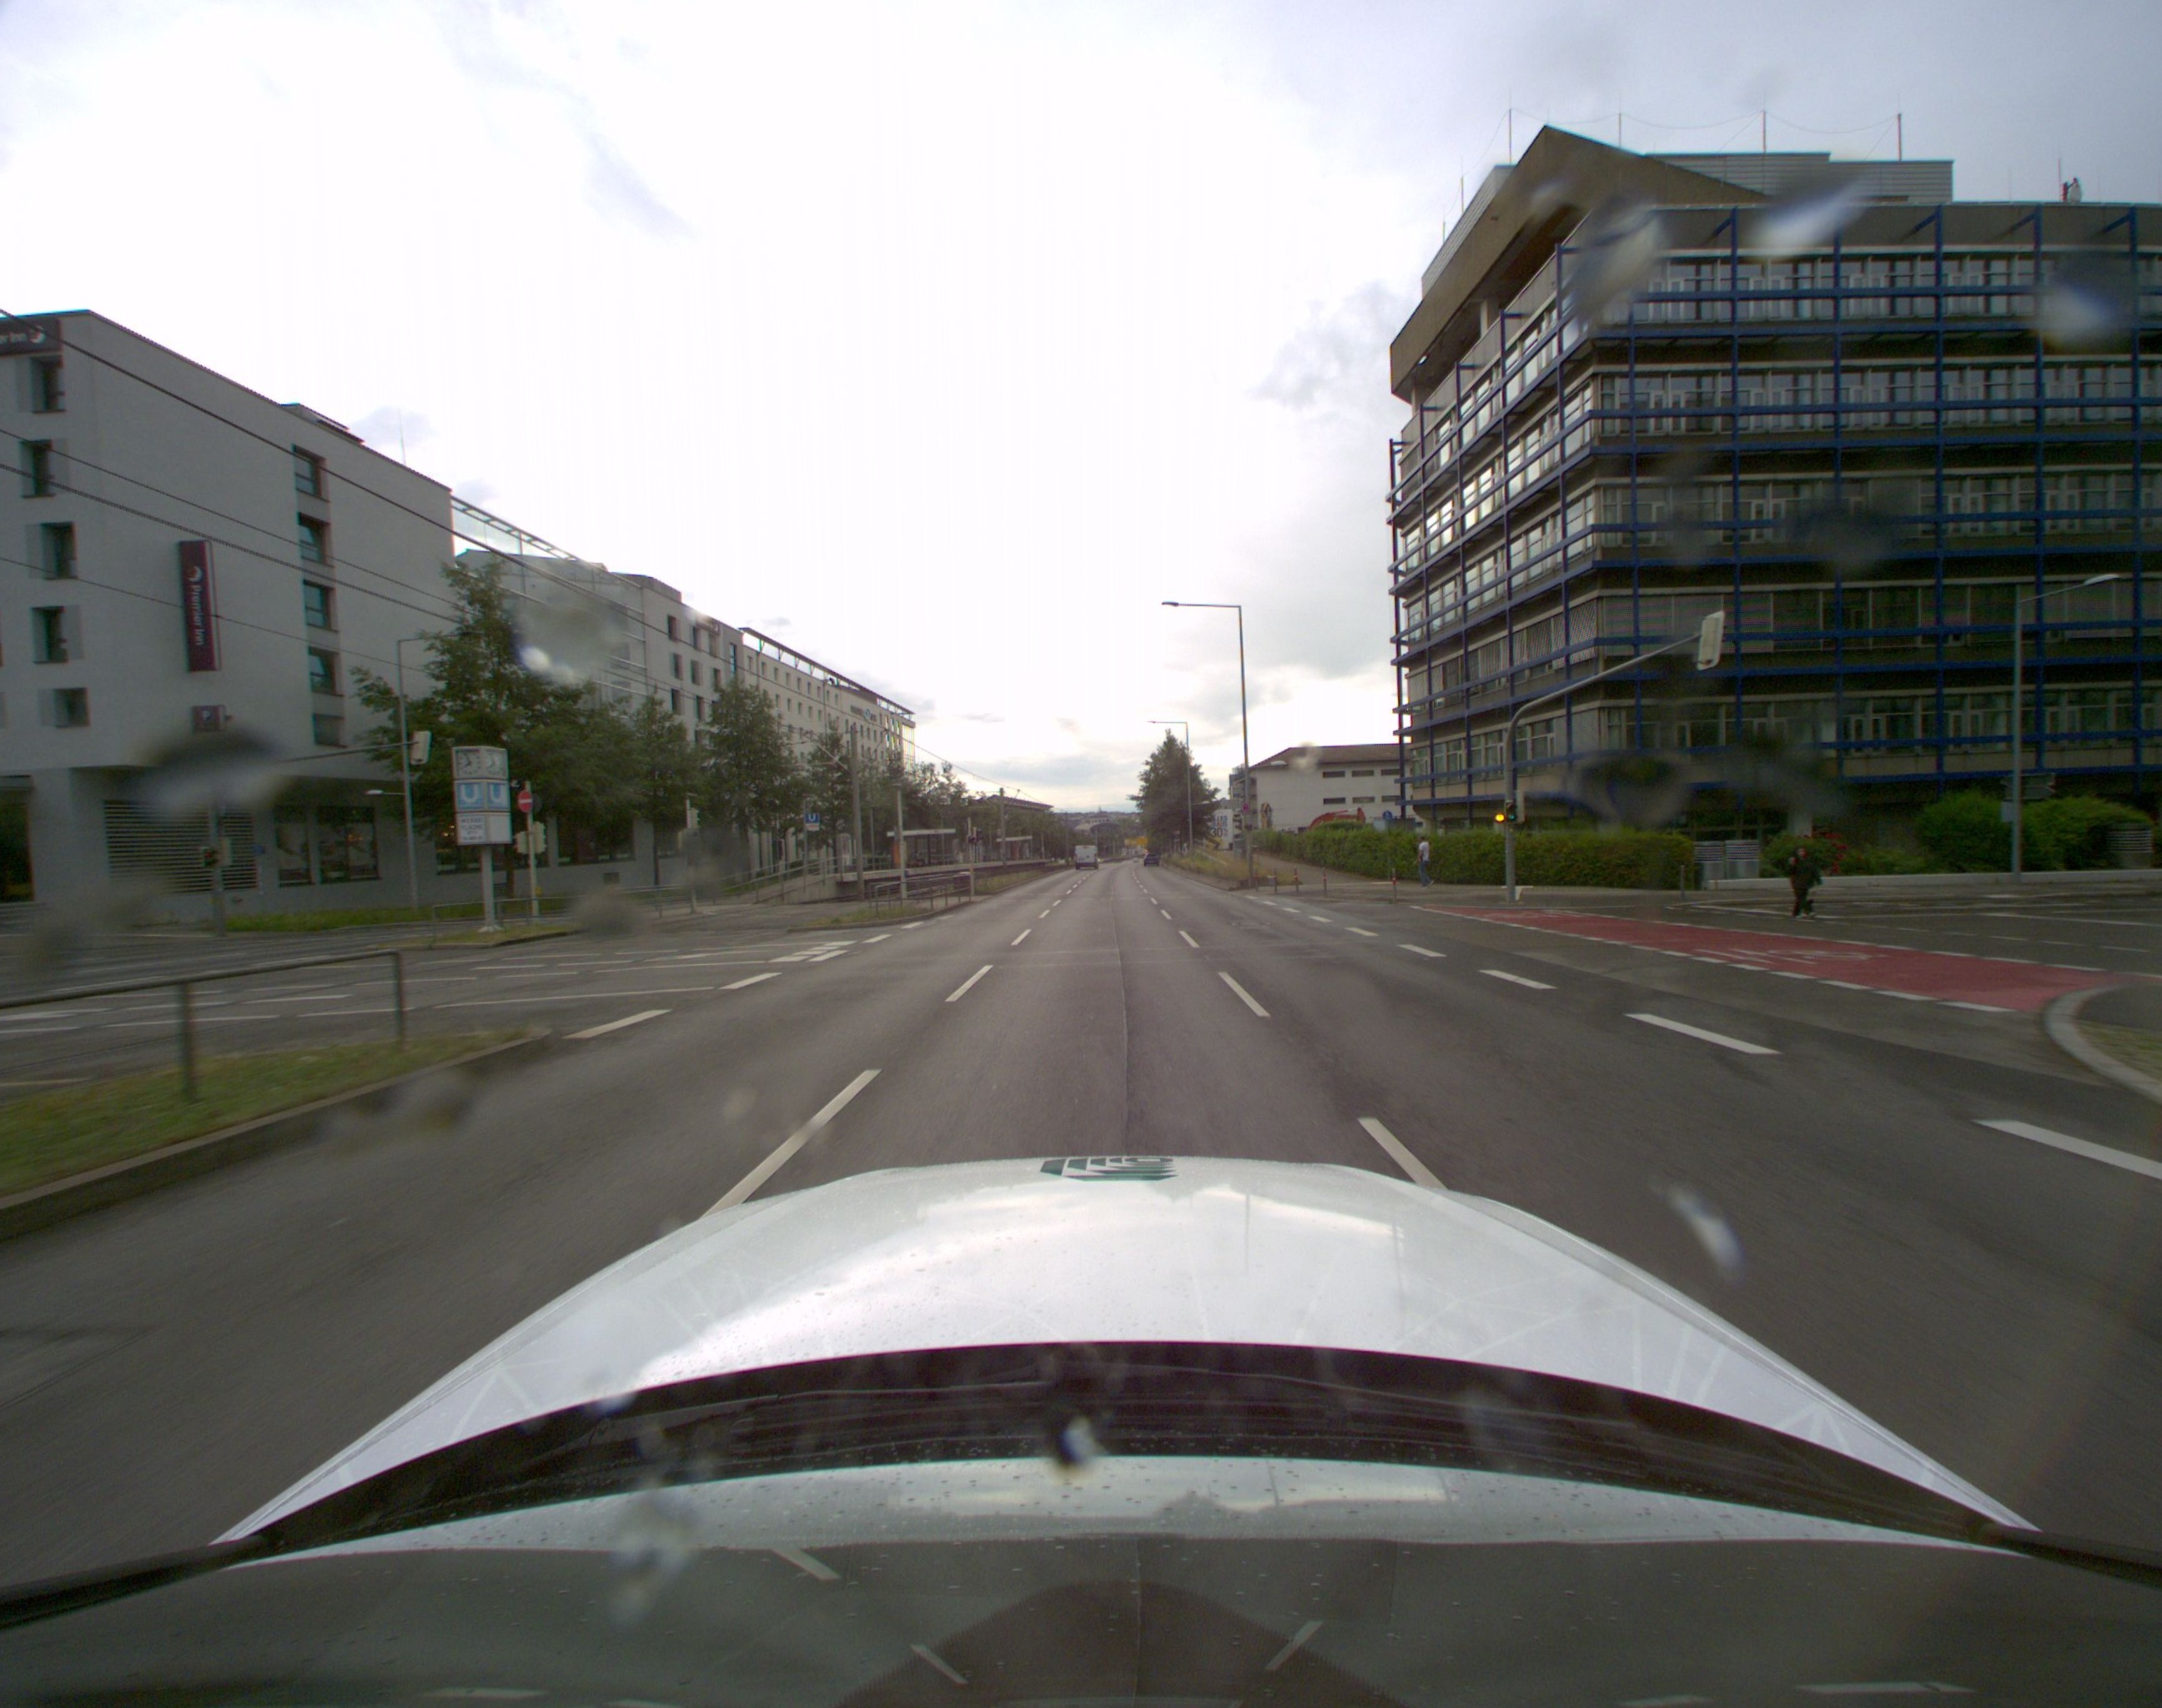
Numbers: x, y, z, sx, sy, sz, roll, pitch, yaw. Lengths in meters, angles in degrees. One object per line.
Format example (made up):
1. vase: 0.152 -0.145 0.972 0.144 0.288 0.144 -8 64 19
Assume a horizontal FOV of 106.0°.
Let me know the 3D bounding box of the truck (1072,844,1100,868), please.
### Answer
1. truck: 0.516 0.181 78.824 2.350 2.262 5.310 0 -1 3

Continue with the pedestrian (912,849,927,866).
1. pedestrian: -12.424 0.286 62.725 0.957 1.300 0.685 -2 0 3

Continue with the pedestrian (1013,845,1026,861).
1. pedestrian: -7.751 -0.118 102.248 1.256 2.014 1.135 -1 -1 20

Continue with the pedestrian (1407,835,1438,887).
1. pedestrian: 11.103 0.225 26.509 0.553 1.652 0.830 -2 0 -7

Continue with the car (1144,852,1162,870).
1. car: 8.142 0.810 92.418 1.984 2.014 3.940 0 -1 5

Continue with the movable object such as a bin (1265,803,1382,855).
1. movable object such as a bin: 27.468 -2.744 92.756 12.093 5.261 3.791 -3 -1 2

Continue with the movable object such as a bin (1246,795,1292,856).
1. movable object such as a bin: 18.843 -2.727 82.190 3.274 5.685 8.776 0 -1 5

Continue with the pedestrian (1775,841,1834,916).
1. pedestrian: 15.447 0.516 17.415 0.892 1.541 0.804 -2 0 41

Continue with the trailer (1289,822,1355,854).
1. trailer: 24.549 -1.544 83.269 2.646 3.042 7.449 0 -1 -19
